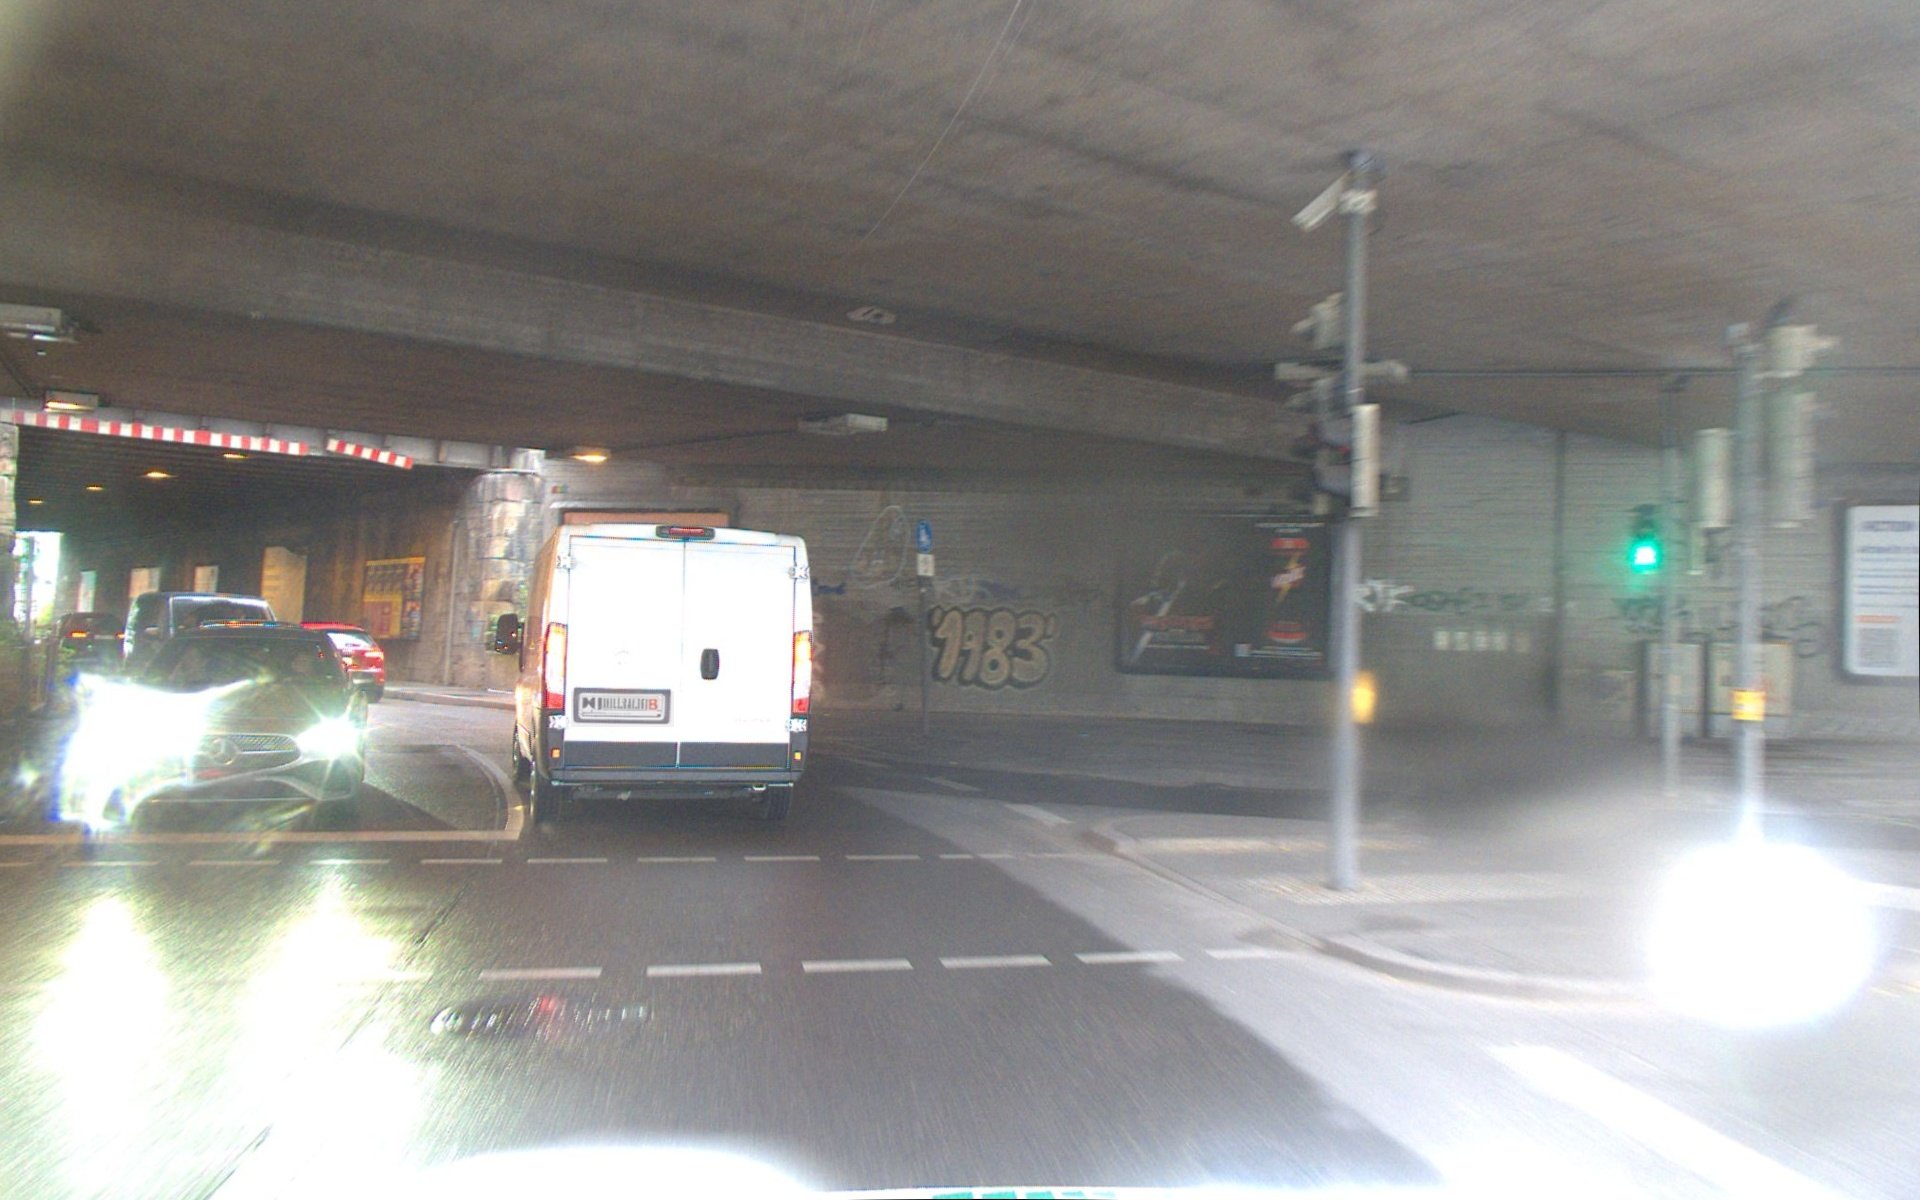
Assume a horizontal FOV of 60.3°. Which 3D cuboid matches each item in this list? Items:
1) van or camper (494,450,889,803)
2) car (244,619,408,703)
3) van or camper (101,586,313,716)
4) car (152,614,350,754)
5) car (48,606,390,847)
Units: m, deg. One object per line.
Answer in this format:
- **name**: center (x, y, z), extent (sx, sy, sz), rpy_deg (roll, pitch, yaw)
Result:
- **van or camper**: center (-2.538, 0.297, 14.278), extent (2.656, 2.459, 4.877), rpy_deg (1, -2, -18)
- **car**: center (-12.094, 1.120, 31.434), extent (1.823, 1.463, 4.047), rpy_deg (2, -1, -38)
- **van or camper**: center (-12.287, 0.793, 26.795), extent (1.980, 1.901, 5.068), rpy_deg (1, -1, -38)
- **car**: center (-8.564, 0.936, 19.876), extent (1.968, 1.490, 4.072), rpy_deg (1, -1, -25)
- **car**: center (-5.643, 0.903, 13.163), extent (1.963, 1.557, 4.476), rpy_deg (1, -2, -18)
